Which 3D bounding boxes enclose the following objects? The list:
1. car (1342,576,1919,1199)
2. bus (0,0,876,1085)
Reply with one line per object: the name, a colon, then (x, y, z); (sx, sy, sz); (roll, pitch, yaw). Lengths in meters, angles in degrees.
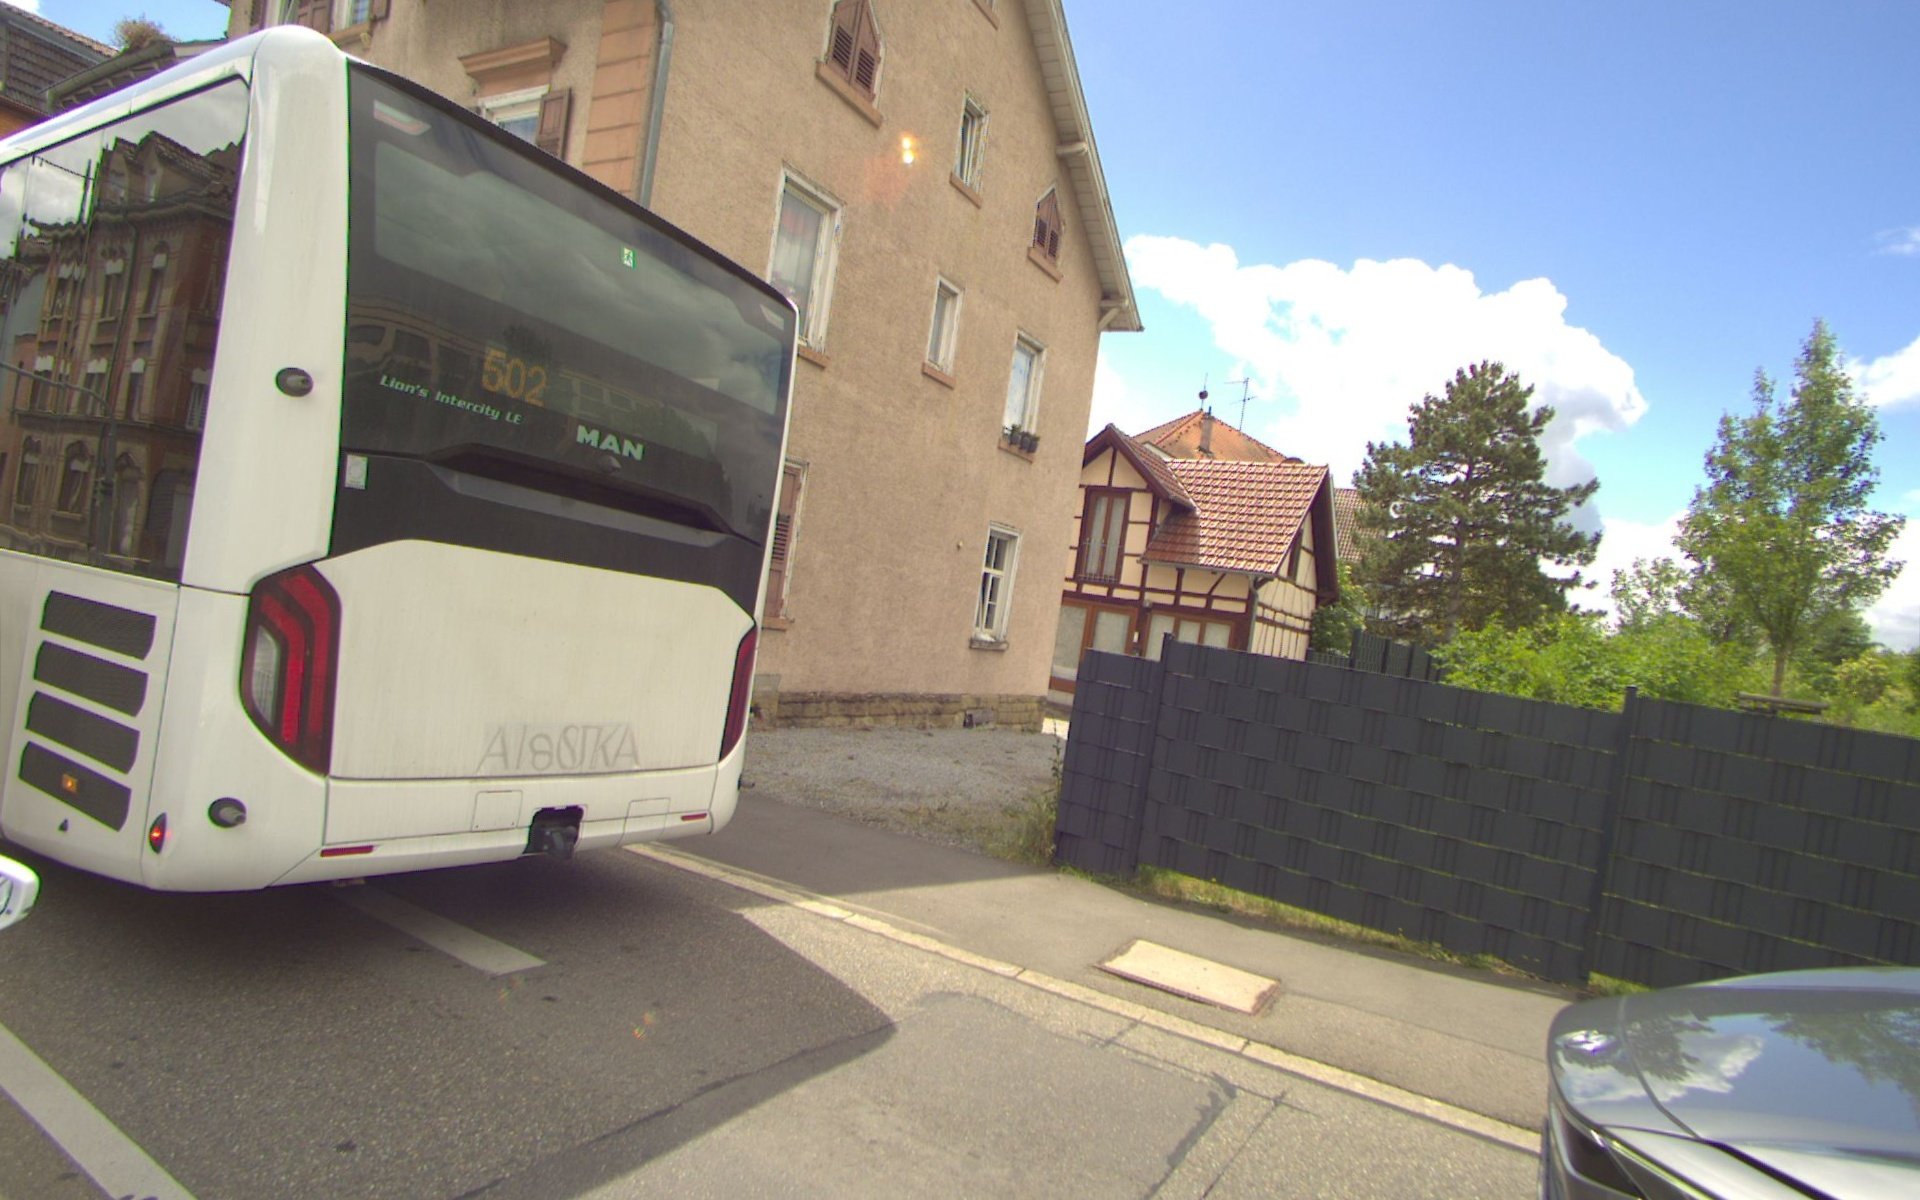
car: (2.912, 1.077, 1.007); (4.504, 1.648, 1.997); (6, -1, 31)
bus: (-6.576, -0.816, 7.224); (12.281, 3.551, 2.910); (6, -2, 32)
